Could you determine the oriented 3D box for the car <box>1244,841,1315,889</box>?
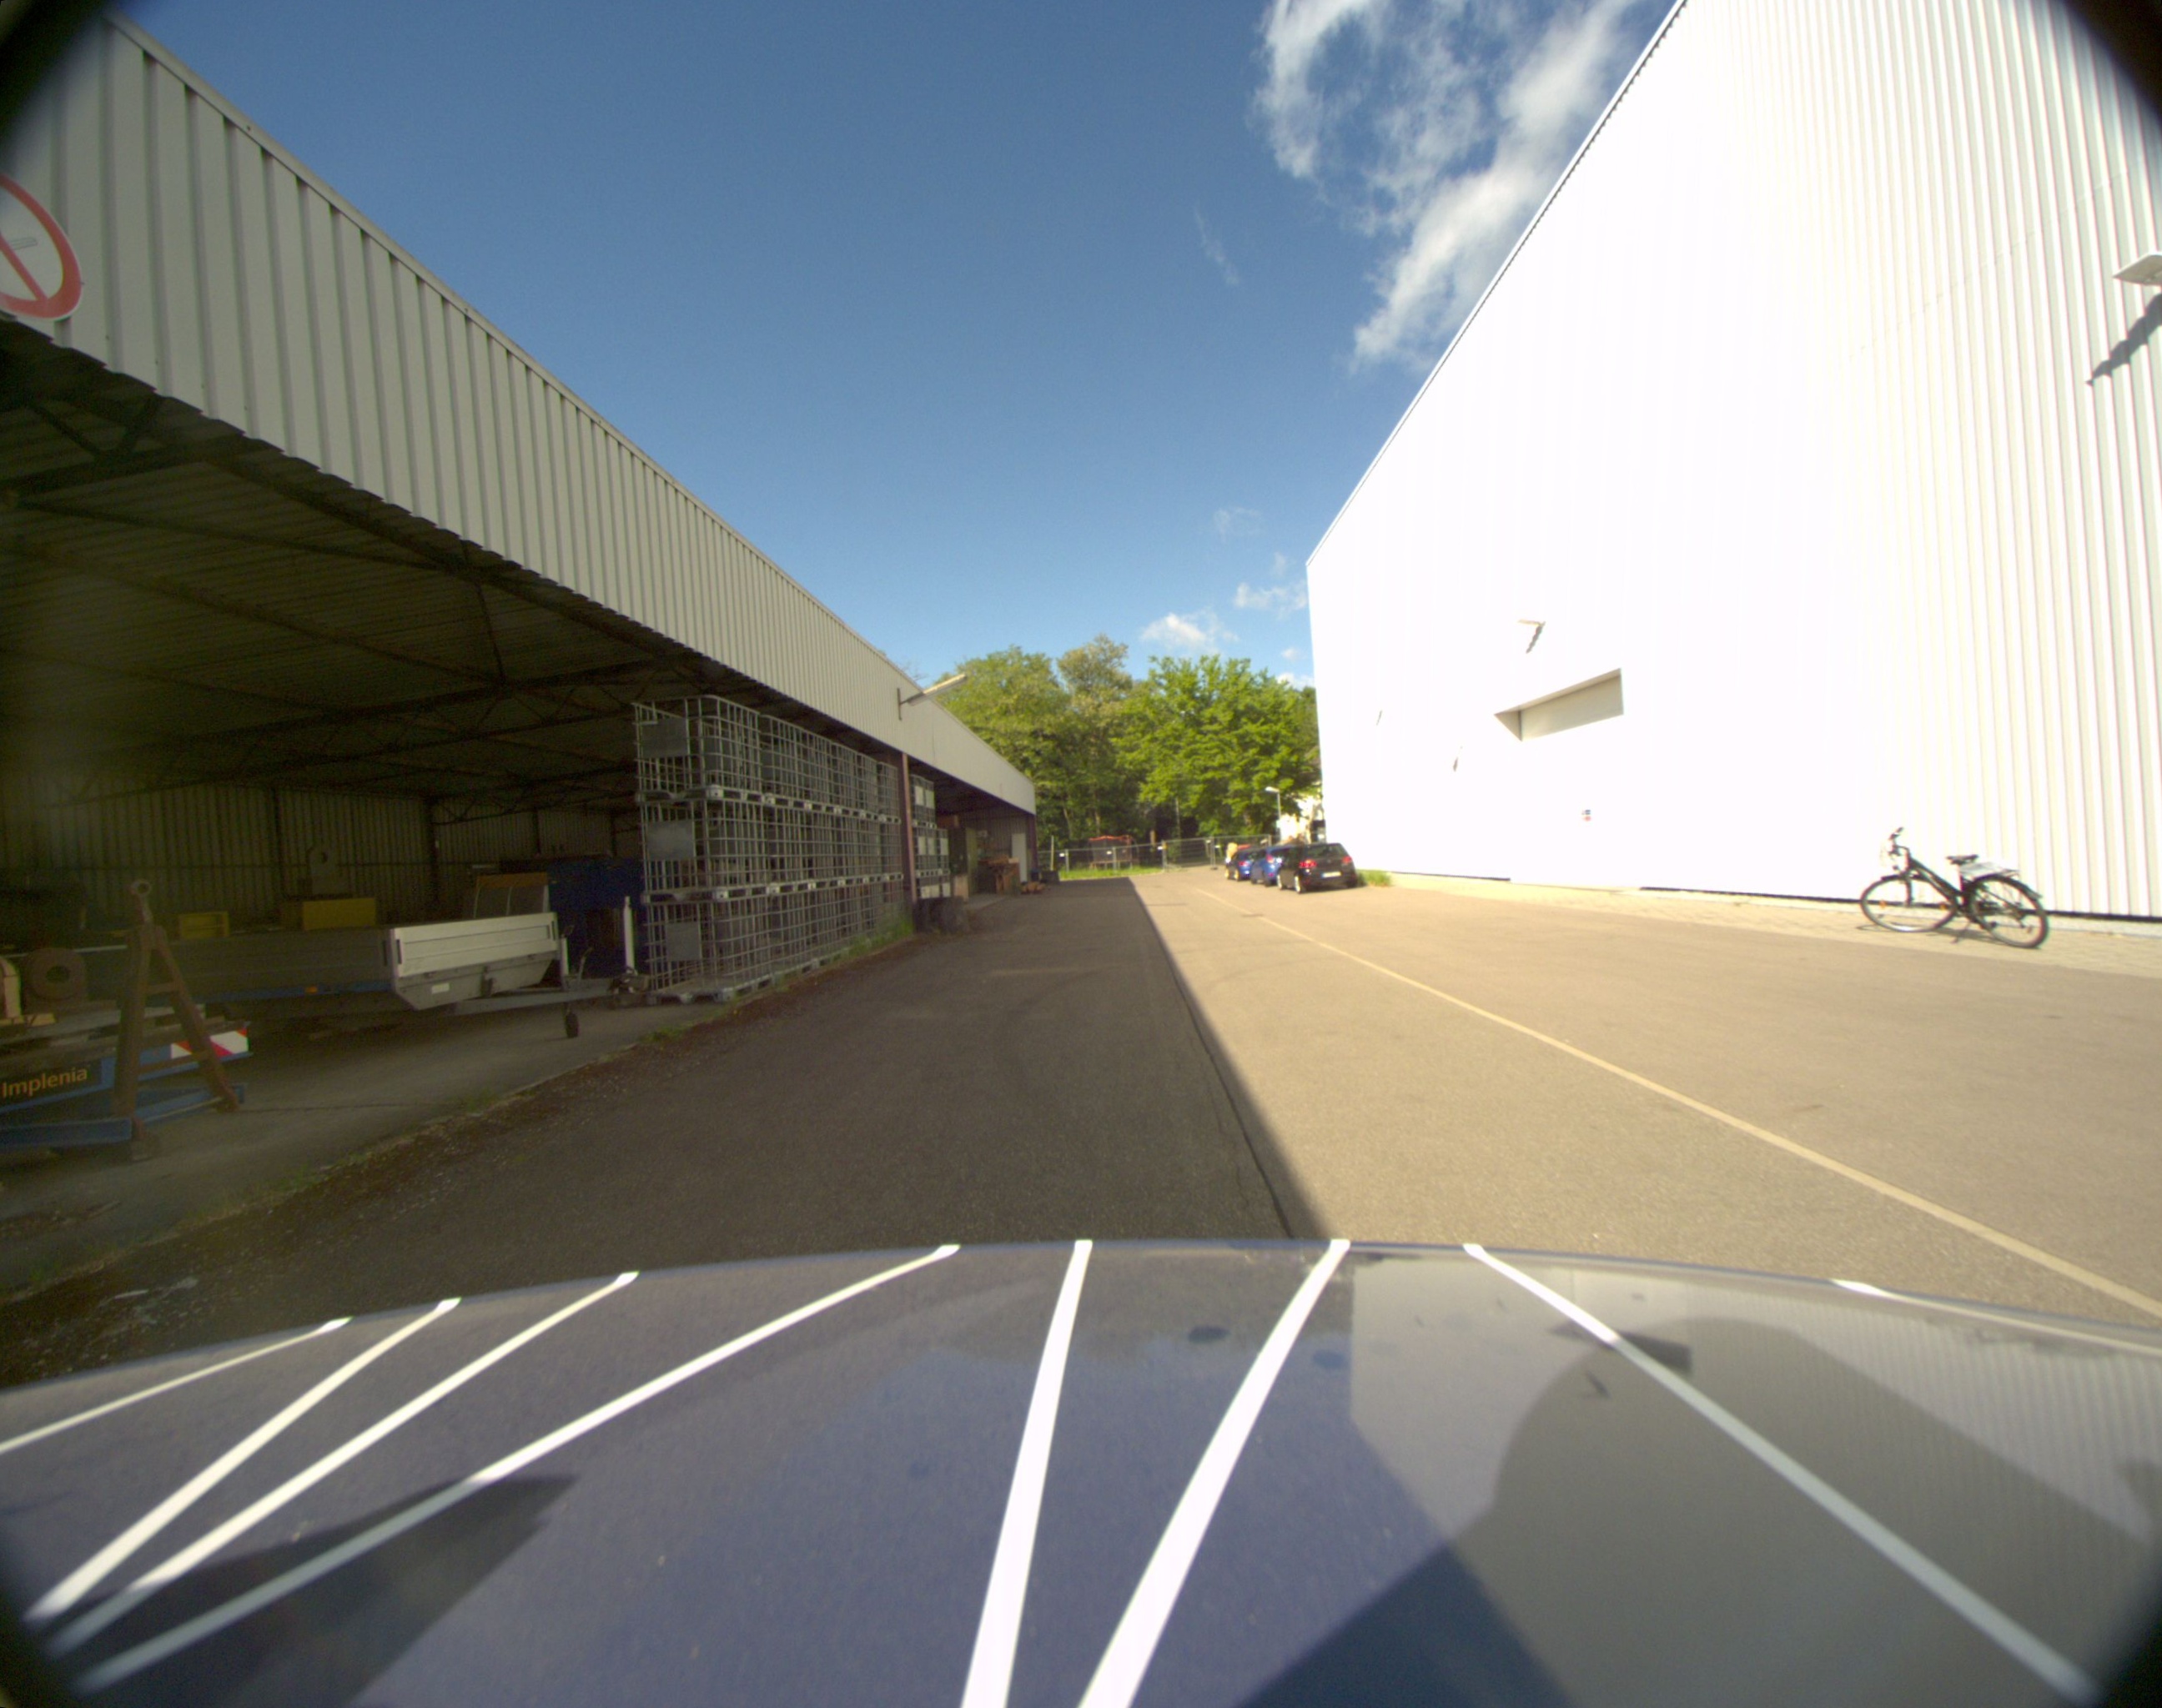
[{"bbox_3d":[7.457,0.368,28.909,1.789,1.513,4.001,-7,0,4],"label":"car"}]

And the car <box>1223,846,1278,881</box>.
[{"bbox_3d":[7.607,0.386,34.411,1.789,1.431,4.001,-3,0,4],"label":"car"}]

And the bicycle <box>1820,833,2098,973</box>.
[{"bbox_3d":[8.661,0.424,7.660,0.909,1.136,1.901,-7,0,18],"label":"bicycle"}]

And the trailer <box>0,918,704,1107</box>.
[{"bbox_3d":[-6.926,1.370,7.016,5.836,1.113,2.029,-3,0,2],"label":"trailer"}]

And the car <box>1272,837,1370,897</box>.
[{"bbox_3d":[7.345,0.365,23.657,1.895,1.513,4.001,-7,0,4],"label":"car"}]

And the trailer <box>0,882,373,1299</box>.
[{"bbox_3d":[-6.810,1.107,3.656,4.879,1.619,2.029,-3,0,2],"label":"trailer"}]
